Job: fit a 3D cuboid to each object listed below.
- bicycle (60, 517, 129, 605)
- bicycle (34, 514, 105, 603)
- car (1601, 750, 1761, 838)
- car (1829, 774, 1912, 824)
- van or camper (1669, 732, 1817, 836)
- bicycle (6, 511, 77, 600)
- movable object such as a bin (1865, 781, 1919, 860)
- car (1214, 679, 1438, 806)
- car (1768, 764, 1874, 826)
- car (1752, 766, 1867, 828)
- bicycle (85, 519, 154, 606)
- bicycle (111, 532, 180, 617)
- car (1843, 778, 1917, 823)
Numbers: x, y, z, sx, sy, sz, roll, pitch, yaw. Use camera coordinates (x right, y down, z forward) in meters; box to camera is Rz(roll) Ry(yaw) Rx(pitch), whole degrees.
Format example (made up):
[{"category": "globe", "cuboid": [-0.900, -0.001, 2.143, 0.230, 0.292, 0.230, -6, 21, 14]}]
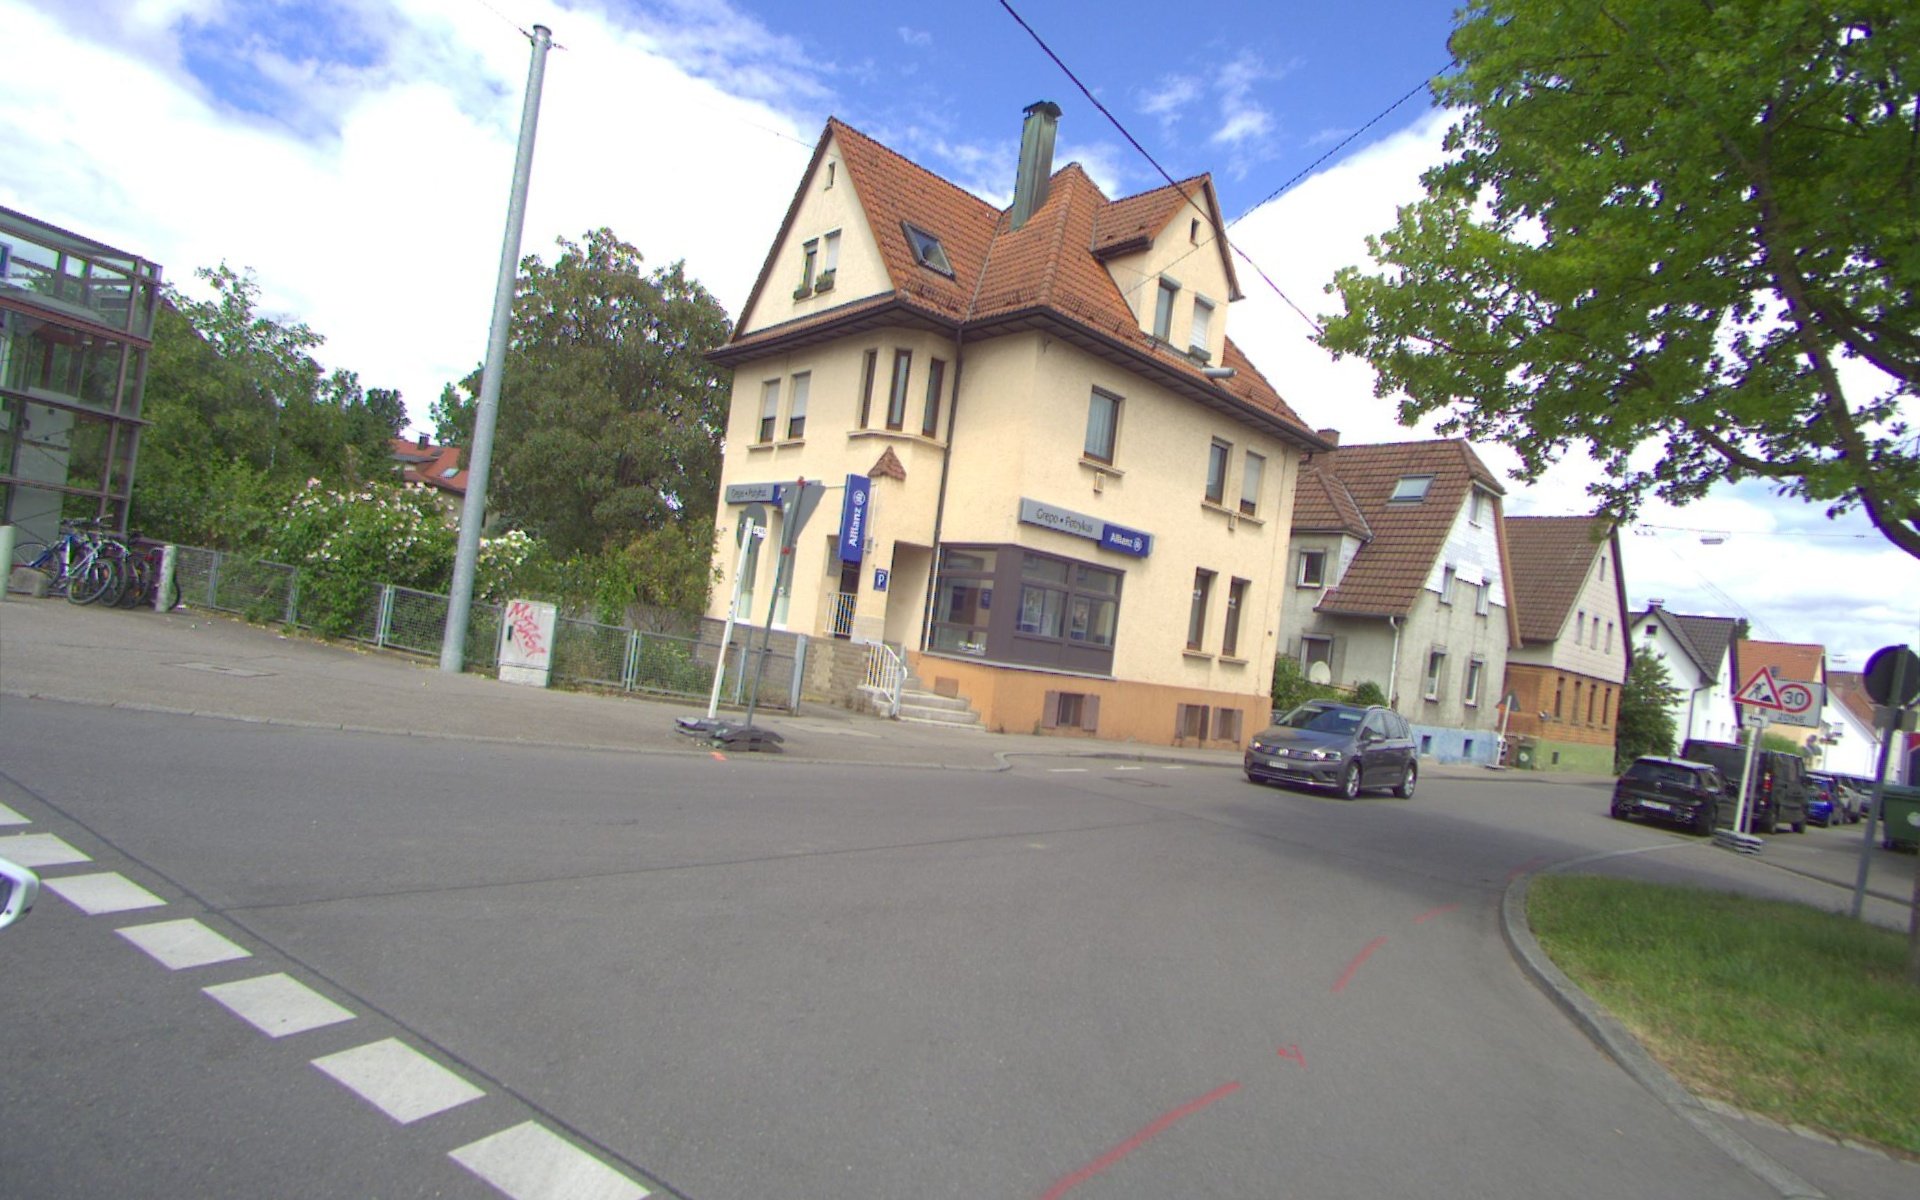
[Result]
[{"category": "bicycle", "cuboid": [-11.313, -0.519, 13.137, 1.149, 1.026, 0.216, 8, 0, 29]}, {"category": "bicycle", "cuboid": [-11.417, -0.540, 12.892, 1.186, 1.013, 0.216, 8, 0, 29]}, {"category": "car", "cuboid": [15.415, 4.143, 21.430, 3.973, 1.393, 1.695, 10, -2, -39]}, {"category": "car", "cuboid": [37.156, 8.118, 41.022, 3.852, 1.571, 1.910, 10, -2, -40]}, {"category": "van or camper", "cuboid": [19.185, 4.509, 24.595, 4.063, 2.022, 1.833, 10, -2, -39]}, {"category": "bicycle", "cuboid": [-11.554, -0.569, 12.647, 1.183, 1.001, 0.216, 8, 0, 29]}, {"category": "movable object such as a bin", "cuboid": [20.804, 4.831, 21.816, 1.297, 1.508, 1.399, 9, -1, -37]}, {"category": "car", "cuboid": [6.374, 2.490, 17.319, 3.978, 1.643, 1.847, 11, -3, -42]}, {"category": "car", "cuboid": [28.787, 6.511, 33.604, 3.852, 1.571, 1.977, 10, -2, -40]}, {"category": "car", "cuboid": [26.037, 6.029, 30.805, 3.852, 1.376, 1.978, 10, -2, -40]}, {"category": "bicycle", "cuboid": [-11.171, -0.506, 13.364, 1.169, 1.021, 0.216, 8, 0, 29]}, {"category": "bicycle", "cuboid": [-11.041, -0.357, 13.623, 1.169, 1.021, 0.216, 8, 0, 29]}, {"category": "car", "cuboid": [41.829, 9.122, 45.714, 3.852, 1.571, 1.910, 10, -2, -40]}]
